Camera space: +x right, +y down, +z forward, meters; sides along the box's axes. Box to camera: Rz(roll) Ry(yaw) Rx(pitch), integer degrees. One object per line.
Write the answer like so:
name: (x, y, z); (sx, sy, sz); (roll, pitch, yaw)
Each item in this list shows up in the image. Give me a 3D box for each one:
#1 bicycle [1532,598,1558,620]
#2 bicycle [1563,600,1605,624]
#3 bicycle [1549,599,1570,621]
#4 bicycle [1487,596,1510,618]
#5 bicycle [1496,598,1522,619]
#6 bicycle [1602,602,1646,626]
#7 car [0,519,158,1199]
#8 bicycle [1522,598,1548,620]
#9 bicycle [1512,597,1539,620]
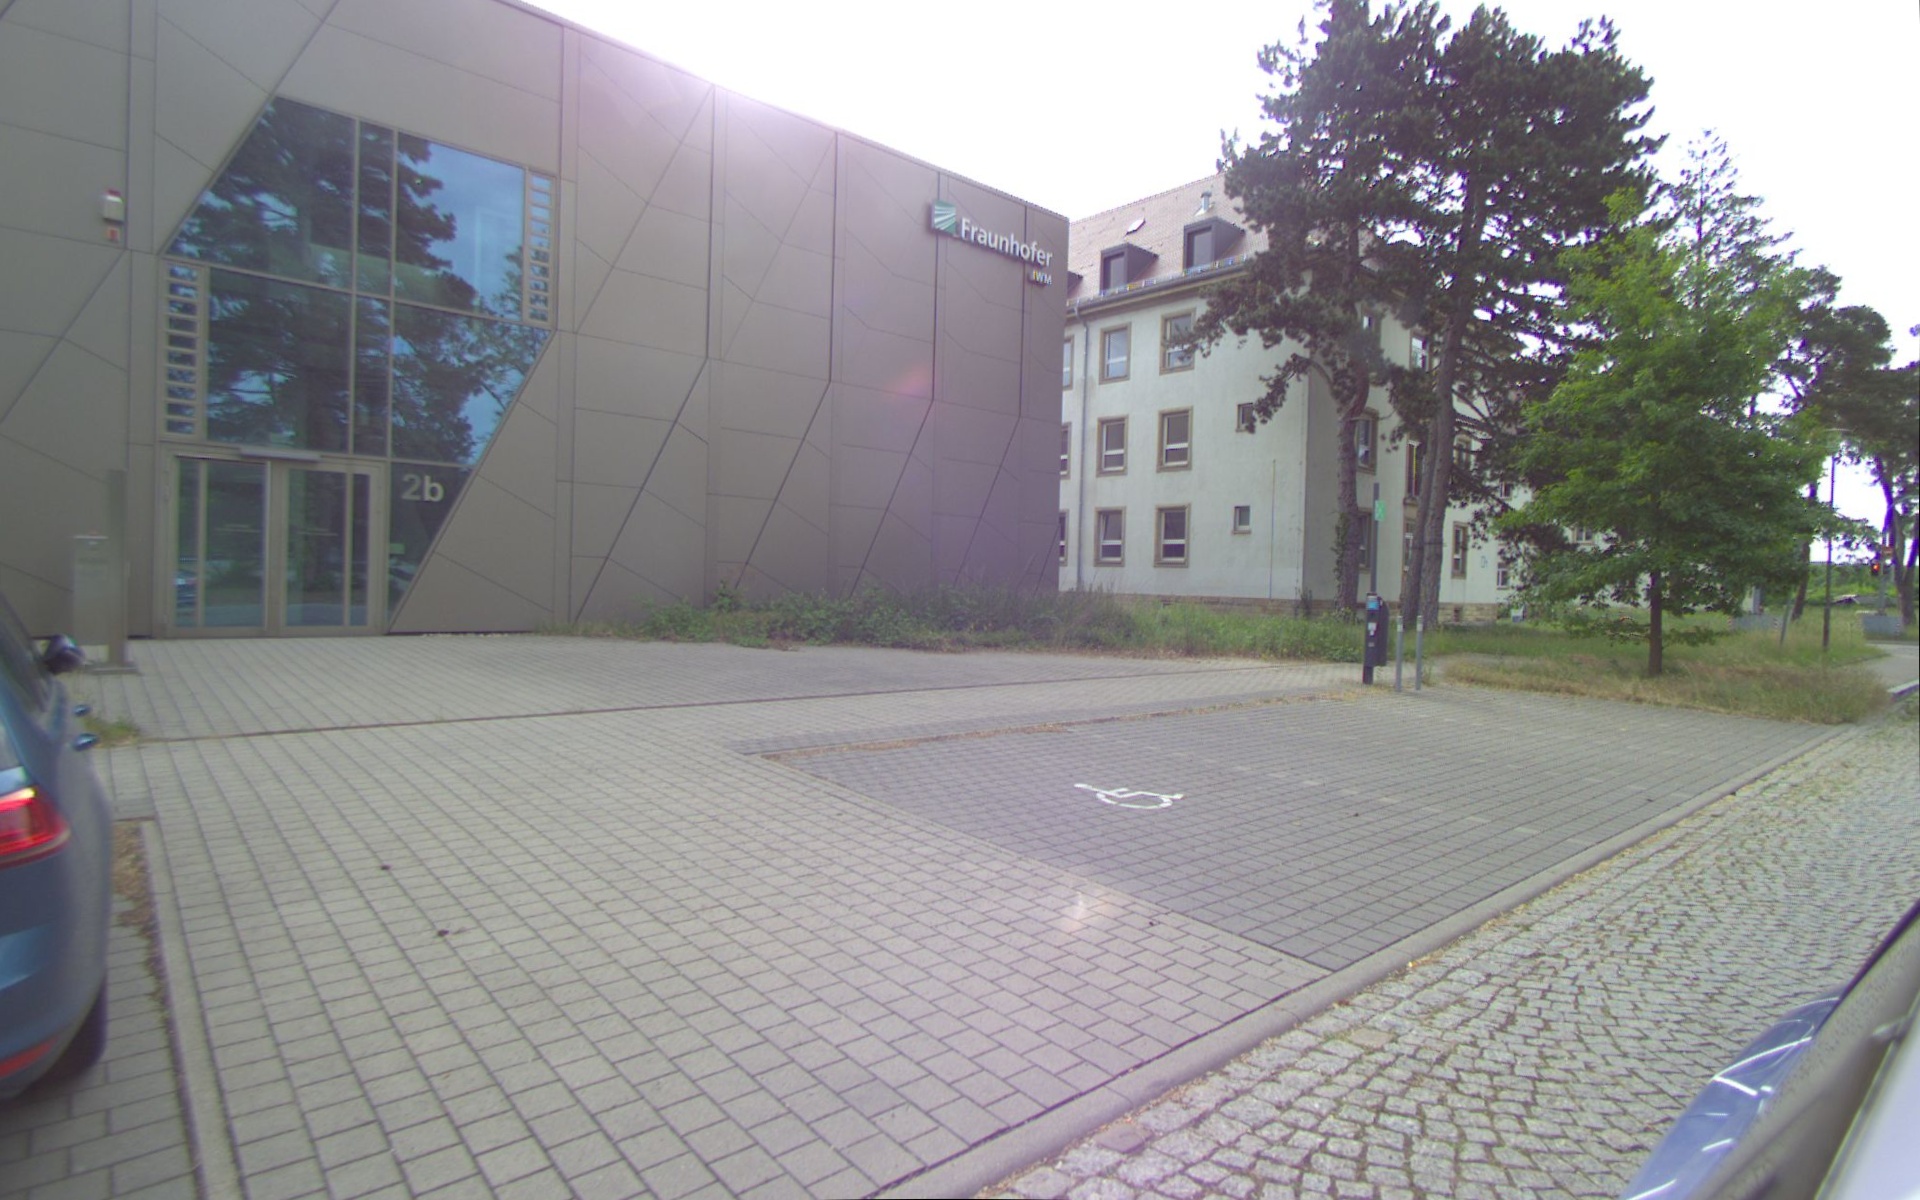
bicycle: (30.500, 0.485, 52.762); (1.670, 1.142, 0.477); (1, 1, -34)
bicycle: (30.917, 0.596, 50.185); (0.603, 1.099, 1.655); (1, 1, -39)
bicycle: (31.079, 0.520, 52.447); (1.629, 1.142, 0.476); (1, 1, -43)
bicycle: (29.046, 0.382, 54.560); (1.699, 1.142, 0.448); (1, 1, -39)
bicycle: (29.372, 0.455, 54.117); (1.697, 1.142, 0.448); (1, 1, -34)
bicycle: (32.137, 0.652, 48.999); (0.604, 1.099, 1.652); (1, 1, -44)
car: (-4.009, 0.483, 3.281); (1.800, 1.493, 4.497); (1, 4, -44)
bicycle: (30.194, 0.457, 53.150); (1.668, 1.142, 0.448); (1, 1, -34)
bicycle: (29.928, 0.456, 53.552); (1.697, 1.142, 0.448); (1, 1, -34)
